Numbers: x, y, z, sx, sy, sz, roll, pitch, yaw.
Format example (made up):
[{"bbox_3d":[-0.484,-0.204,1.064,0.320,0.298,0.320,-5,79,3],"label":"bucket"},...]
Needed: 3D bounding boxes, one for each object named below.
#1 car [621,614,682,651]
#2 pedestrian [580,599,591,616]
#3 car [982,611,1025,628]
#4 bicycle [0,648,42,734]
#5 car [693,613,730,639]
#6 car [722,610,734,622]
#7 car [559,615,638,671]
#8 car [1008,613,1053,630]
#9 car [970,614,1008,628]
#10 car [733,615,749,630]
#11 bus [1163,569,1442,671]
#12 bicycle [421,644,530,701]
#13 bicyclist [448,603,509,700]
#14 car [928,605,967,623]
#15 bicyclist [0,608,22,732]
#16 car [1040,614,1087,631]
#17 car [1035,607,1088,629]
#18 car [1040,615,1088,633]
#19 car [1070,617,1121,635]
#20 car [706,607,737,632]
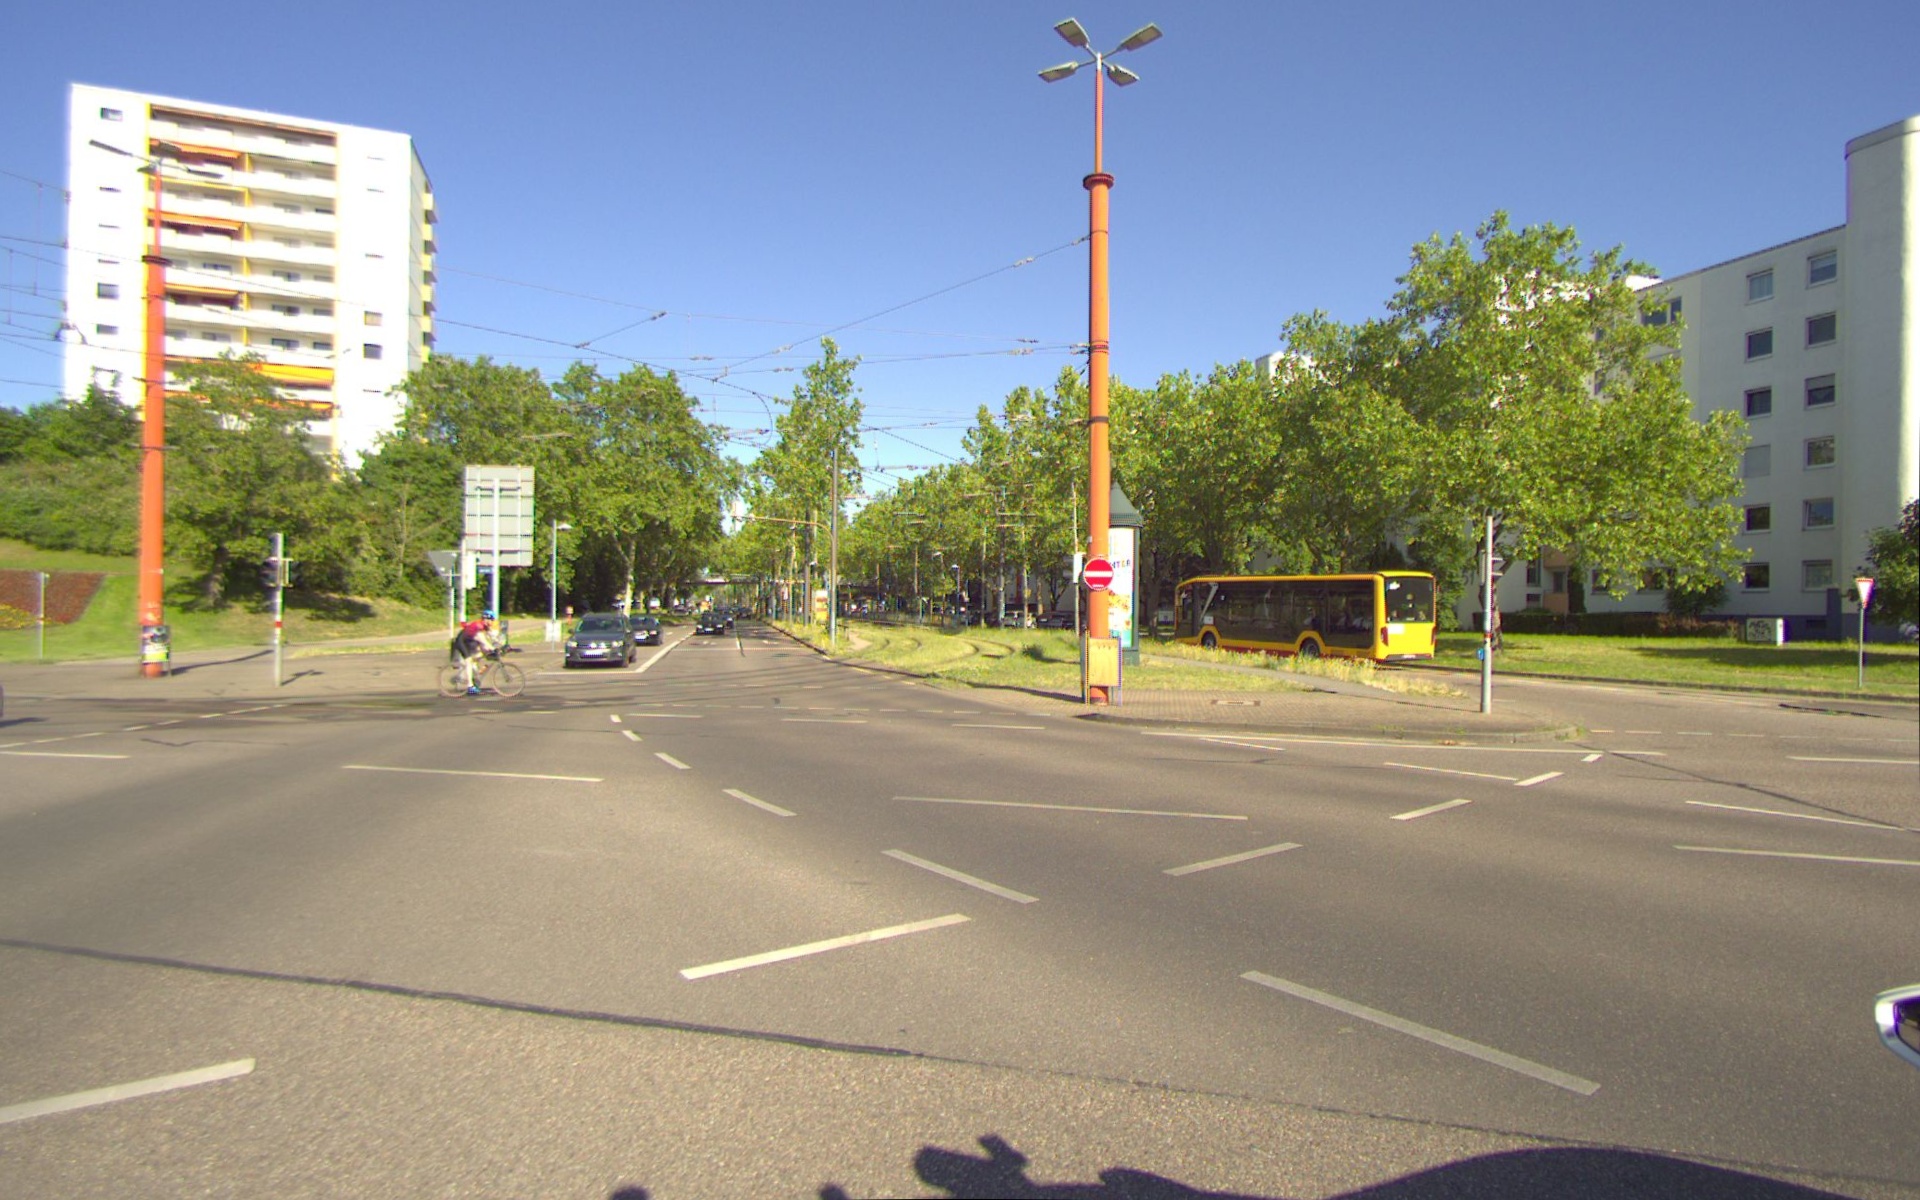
[{"bbox_3d":[-14.280,1.468,46.700,1.882,1.516,3.996,1,1,-5],"label":"car"},{"bbox_3d":[-36.172,0.698,97.060,0.674,1.576,0.991,1,-2,-5],"label":"pedestrian"},{"bbox_3d":[3.969,1.765,91.048,3.578,1.480,1.614,1,1,24],"label":"car"},{"bbox_3d":[-13.162,1.215,13.242,0.728,1.146,1.910,1,-2,-14],"label":"bicycle"},{"bbox_3d":[-16.006,1.677,64.869,1.883,1.516,3.995,1,1,-7],"label":"car"},{"bbox_3d":[-38.529,2.608,166.601,1.828,1.825,3.987,1,1,-15],"label":"car"},{"bbox_3d":[-11.315,1.301,31.670,1.885,1.516,4.034,1,1,-13],"label":"car"},{"bbox_3d":[6.069,1.874,86.730,3.672,1.349,1.493,1,1,35],"label":"car"},{"bbox_3d":[2.735,1.962,94.746,3.351,1.204,1.447,1,1,20],"label":"car"},{"bbox_3d":[-27.538,2.814,126.228,1.828,1.825,3.986,1,1,-16],"label":"car"},{"bbox_3d":[12.487,0.565,38.763,2.616,3.305,12.467,0,1,-22],"label":"bus"},{"bbox_3d":[-9.838,1.465,20.454,1.881,1.086,0.691,1,1,-10],"label":"bicycle"},{"bbox_3d":[-9.792,1.035,20.455,0.973,1.938,0.685,1,1,-11],"label":"bicyclist"},{"bbox_3d":[-1.455,1.682,119.742,4.258,2.010,1.939,0,-1,24],"label":"car"},{"bbox_3d":[-13.129,0.925,13.182,0.878,1.643,0.825,1,-2,-15],"label":"bicyclist"},{"bbox_3d":[7.937,1.738,76.837,3.343,1.162,1.305,1,1,30],"label":"car"},{"bbox_3d":[8.048,1.400,79.458,3.876,1.614,1.653,1,1,35],"label":"car"},{"bbox_3d":[7.694,1.760,74.201,3.218,1.173,1.358,1,1,31],"label":"car"},{"bbox_3d":[9.573,1.827,71.026,3.281,1.149,1.321,1,1,32],"label":"car"},{"bbox_3d":[-19.112,1.538,80.511,1.824,1.825,3.997,1,1,-5],"label":"car"}]
